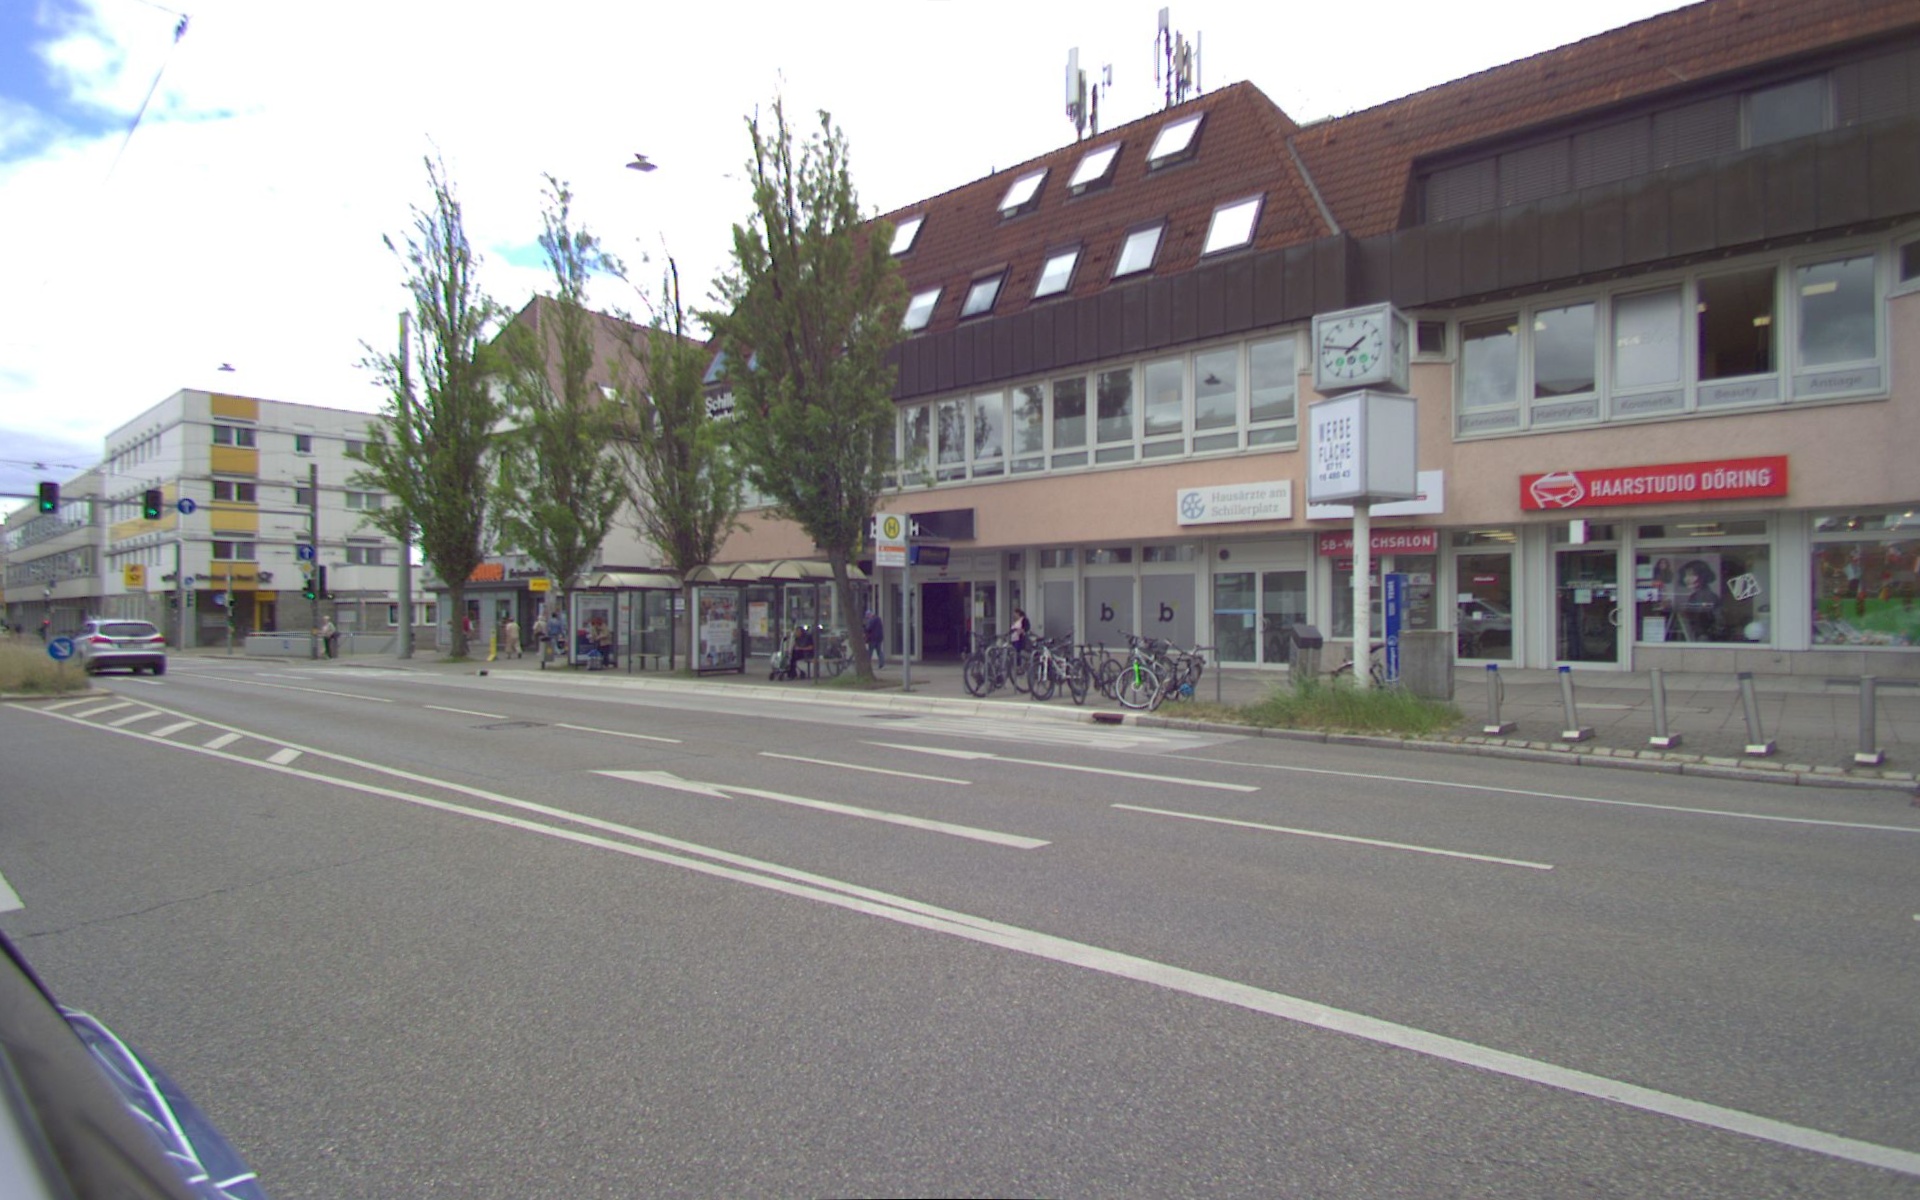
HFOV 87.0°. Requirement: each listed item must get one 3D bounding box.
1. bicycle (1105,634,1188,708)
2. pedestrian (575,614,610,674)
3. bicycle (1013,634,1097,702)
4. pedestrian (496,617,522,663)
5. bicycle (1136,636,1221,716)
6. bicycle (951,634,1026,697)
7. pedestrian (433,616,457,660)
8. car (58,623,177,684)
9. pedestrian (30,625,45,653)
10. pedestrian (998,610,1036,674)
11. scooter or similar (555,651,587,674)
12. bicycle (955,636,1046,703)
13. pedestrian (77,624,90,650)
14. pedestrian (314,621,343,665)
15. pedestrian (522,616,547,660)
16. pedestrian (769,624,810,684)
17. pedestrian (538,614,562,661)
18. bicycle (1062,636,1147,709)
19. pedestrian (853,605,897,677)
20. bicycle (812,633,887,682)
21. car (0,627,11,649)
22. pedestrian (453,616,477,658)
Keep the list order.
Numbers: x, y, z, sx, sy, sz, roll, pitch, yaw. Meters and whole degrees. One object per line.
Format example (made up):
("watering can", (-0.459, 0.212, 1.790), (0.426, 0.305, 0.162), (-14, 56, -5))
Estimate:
("bicycle", (3.072, 1.126, 16.529), (0.647, 1.098, 2.003), (-1, -1, 31))
("pedestrian", (-10.522, 1.254, 28.986), (0.709, 1.665, 0.583), (-2, -1, 23))
("bicycle", (1.704, 1.169, 17.854), (0.647, 1.098, 2.003), (-1, -1, 31))
("pedestrian", (-16.381, 1.453, 36.758), (0.614, 1.646, 0.580), (-2, 1, 39))
("bicycle", (3.377, 1.122, 15.521), (0.647, 1.098, 2.003), (-1, -1, 31))
("bicycle", (0.577, 1.232, 19.579), (0.646, 1.098, 2.006), (-1, -1, 27))
("pedestrian", (-19.975, 1.470, 39.245), (0.614, 1.646, 0.580), (-2, 1, 39))
("car", (-22.892, 1.399, 27.452), (4.342, 1.517, 1.854), (-1, -2, 42))
("pedestrian", (-62.251, 2.611, 68.288), (0.526, 1.816, 0.580), (-2, 1, 41))
("pedestrian", (1.414, 1.027, 24.951), (0.587, 1.559, 0.704), (-3, -2, 40))
("scooter or similar", (-10.986, 1.763, 28.560), (0.702, 0.606, 0.586), (-2, -2, 40))
("bicycle", (0.758, 1.224, 18.369), (0.648, 1.098, 1.999), (-2, -1, 36))
("pedestrian", (-63.822, 2.679, 73.655), (0.526, 1.816, 0.580), (-2, 1, 41))
("pedestrian", (-24.942, 1.693, 39.964), (0.612, 1.646, 0.695), (-2, 1, 30))
("pedestrian", (-16.385, 1.473, 38.984), (0.614, 1.646, 0.580), (-2, 1, 39))
("pedestrian", (-4.004, 1.263, 23.775), (0.588, 1.374, 0.704), (-3, -2, 43))
("pedestrian", (-15.122, 1.388, 37.341), (0.614, 1.725, 0.580), (-2, -2, 39))
("bicycle", (2.434, 1.170, 16.852), (0.647, 1.098, 2.003), (-1, -1, 31))
("pedestrian", (-2.192, 1.057, 26.142), (0.754, 1.777, 0.719), (-2, 1, 39))
("bicycle", (-2.593, 1.319, 23.617), (1.929, 1.098, 0.528), (-1, -1, 39))
("car", (-91.510, 3.630, 95.718), (4.482, 2.029, 1.974), (-2, -1, 39))
("pedestrian", (-20.463, 1.528, 41.837), (0.614, 1.725, 0.580), (-2, 1, 39))
